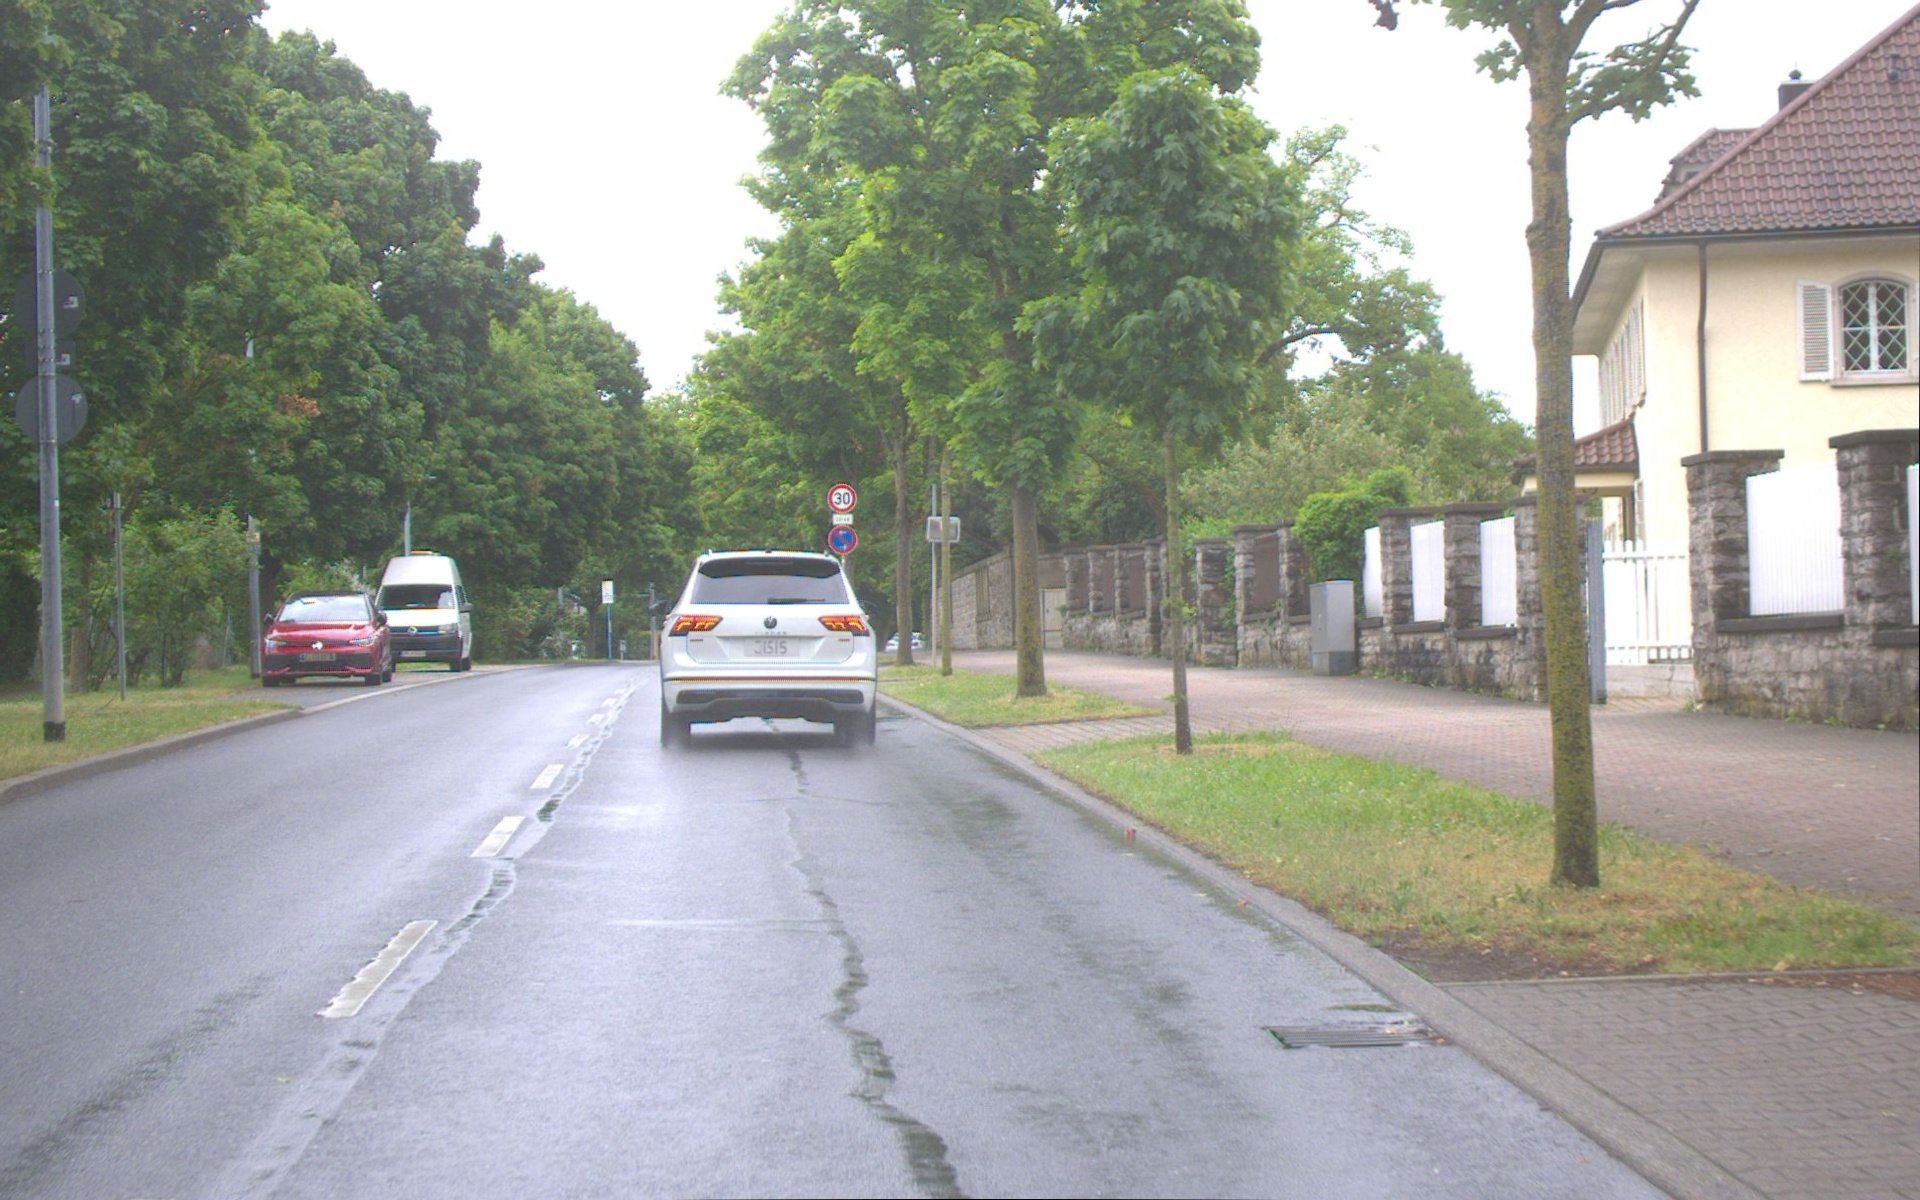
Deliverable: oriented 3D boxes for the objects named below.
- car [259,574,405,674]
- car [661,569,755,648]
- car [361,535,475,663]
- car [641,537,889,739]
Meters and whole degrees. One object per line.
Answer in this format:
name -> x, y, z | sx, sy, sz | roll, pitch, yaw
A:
car -> -9.699, 0.349, 53.338 | 1.843, 1.461, 4.250 | -1, 0, -5
car -> -5.170, 0.152, 70.854 | 1.840, 1.482, 4.001 | 0, 2, -3
car -> -11.390, -0.023, 72.551 | 1.993, 2.552, 5.233 | -1, 0, -5
car -> -1.717, 0.290, 30.109 | 1.996, 1.626, 4.001 | 1, 1, -3
